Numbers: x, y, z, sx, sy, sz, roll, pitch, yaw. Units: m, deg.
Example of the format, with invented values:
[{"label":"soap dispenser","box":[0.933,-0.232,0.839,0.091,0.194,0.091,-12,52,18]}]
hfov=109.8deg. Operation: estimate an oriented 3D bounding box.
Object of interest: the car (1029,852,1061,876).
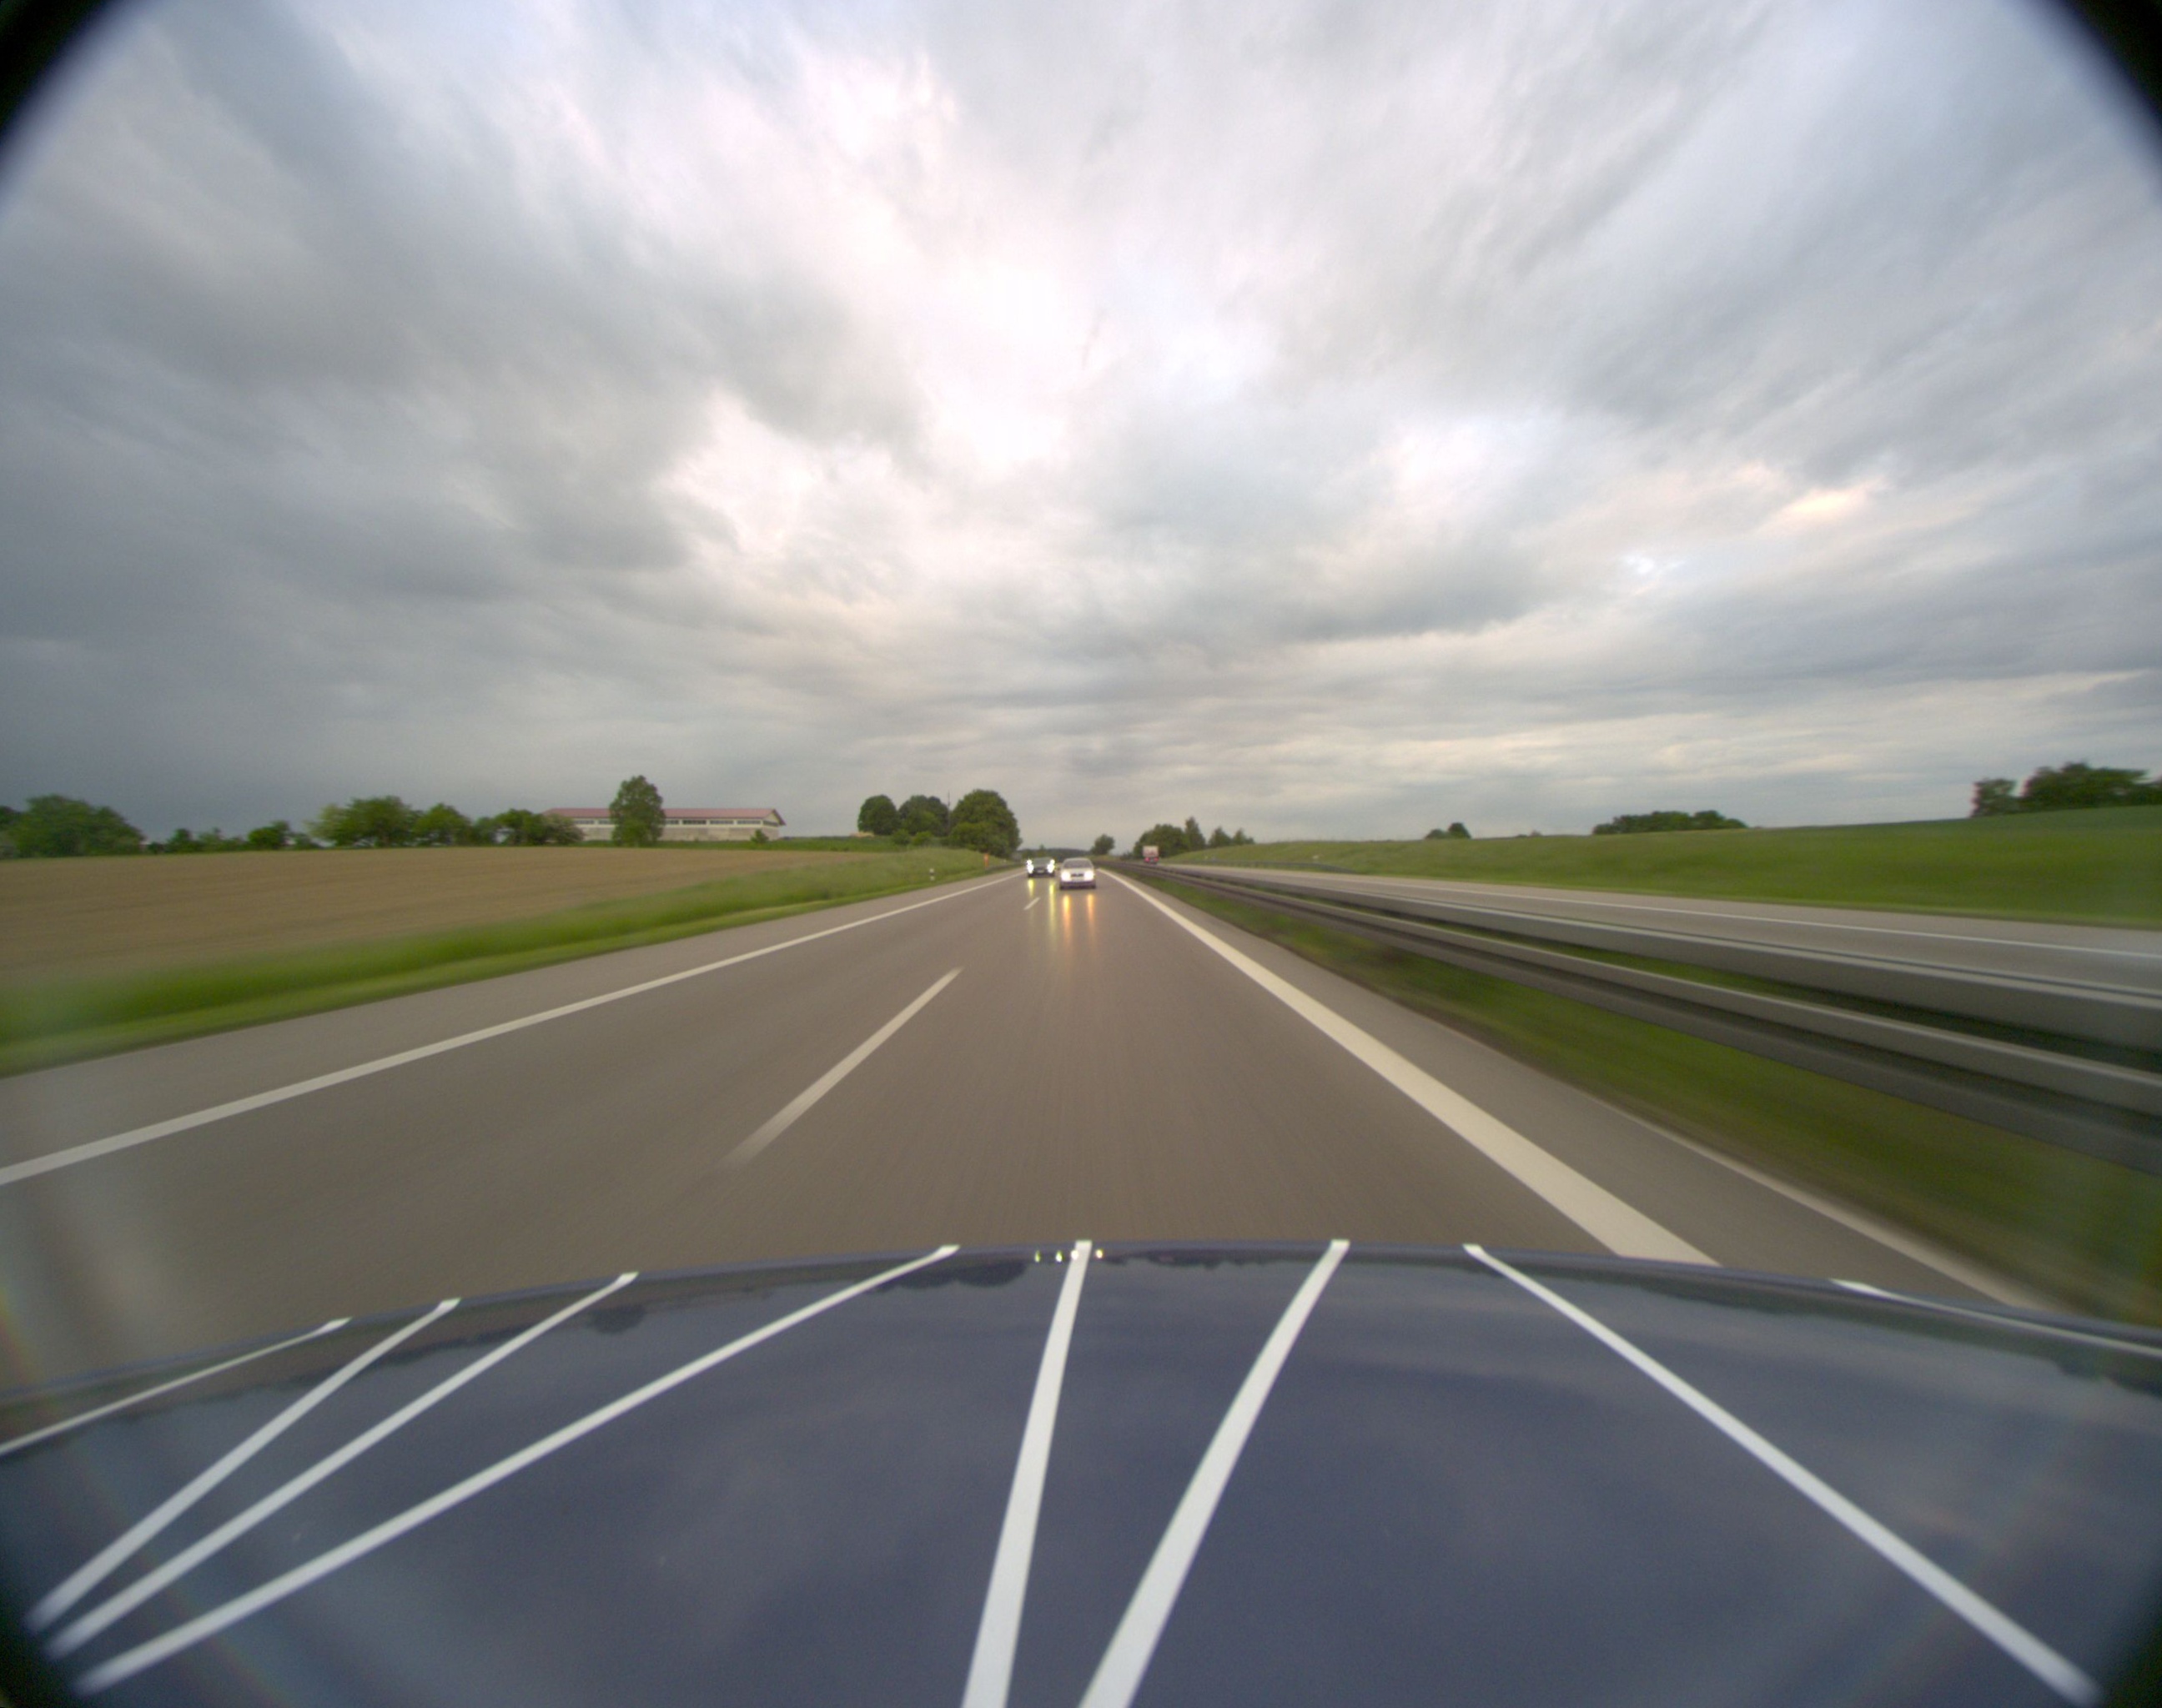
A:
[{"label":"car","box":[-2.658,0.734,57.628,1.951,1.620,4.536,-1,1,3]}]

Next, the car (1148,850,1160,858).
[{"label":"car","box":[12.355,0.010,128.548,1.553,1.363,3.798,-2,1,0]}]

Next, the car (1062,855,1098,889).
[{"label":"car","box":[-0.023,0.794,35.658,1.592,1.381,4.600,0,2,0]}]

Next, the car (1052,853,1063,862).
[{"label":"car","box":[-4.217,0.603,136.034,1.807,1.619,3.903,-1,1,-1]}]
